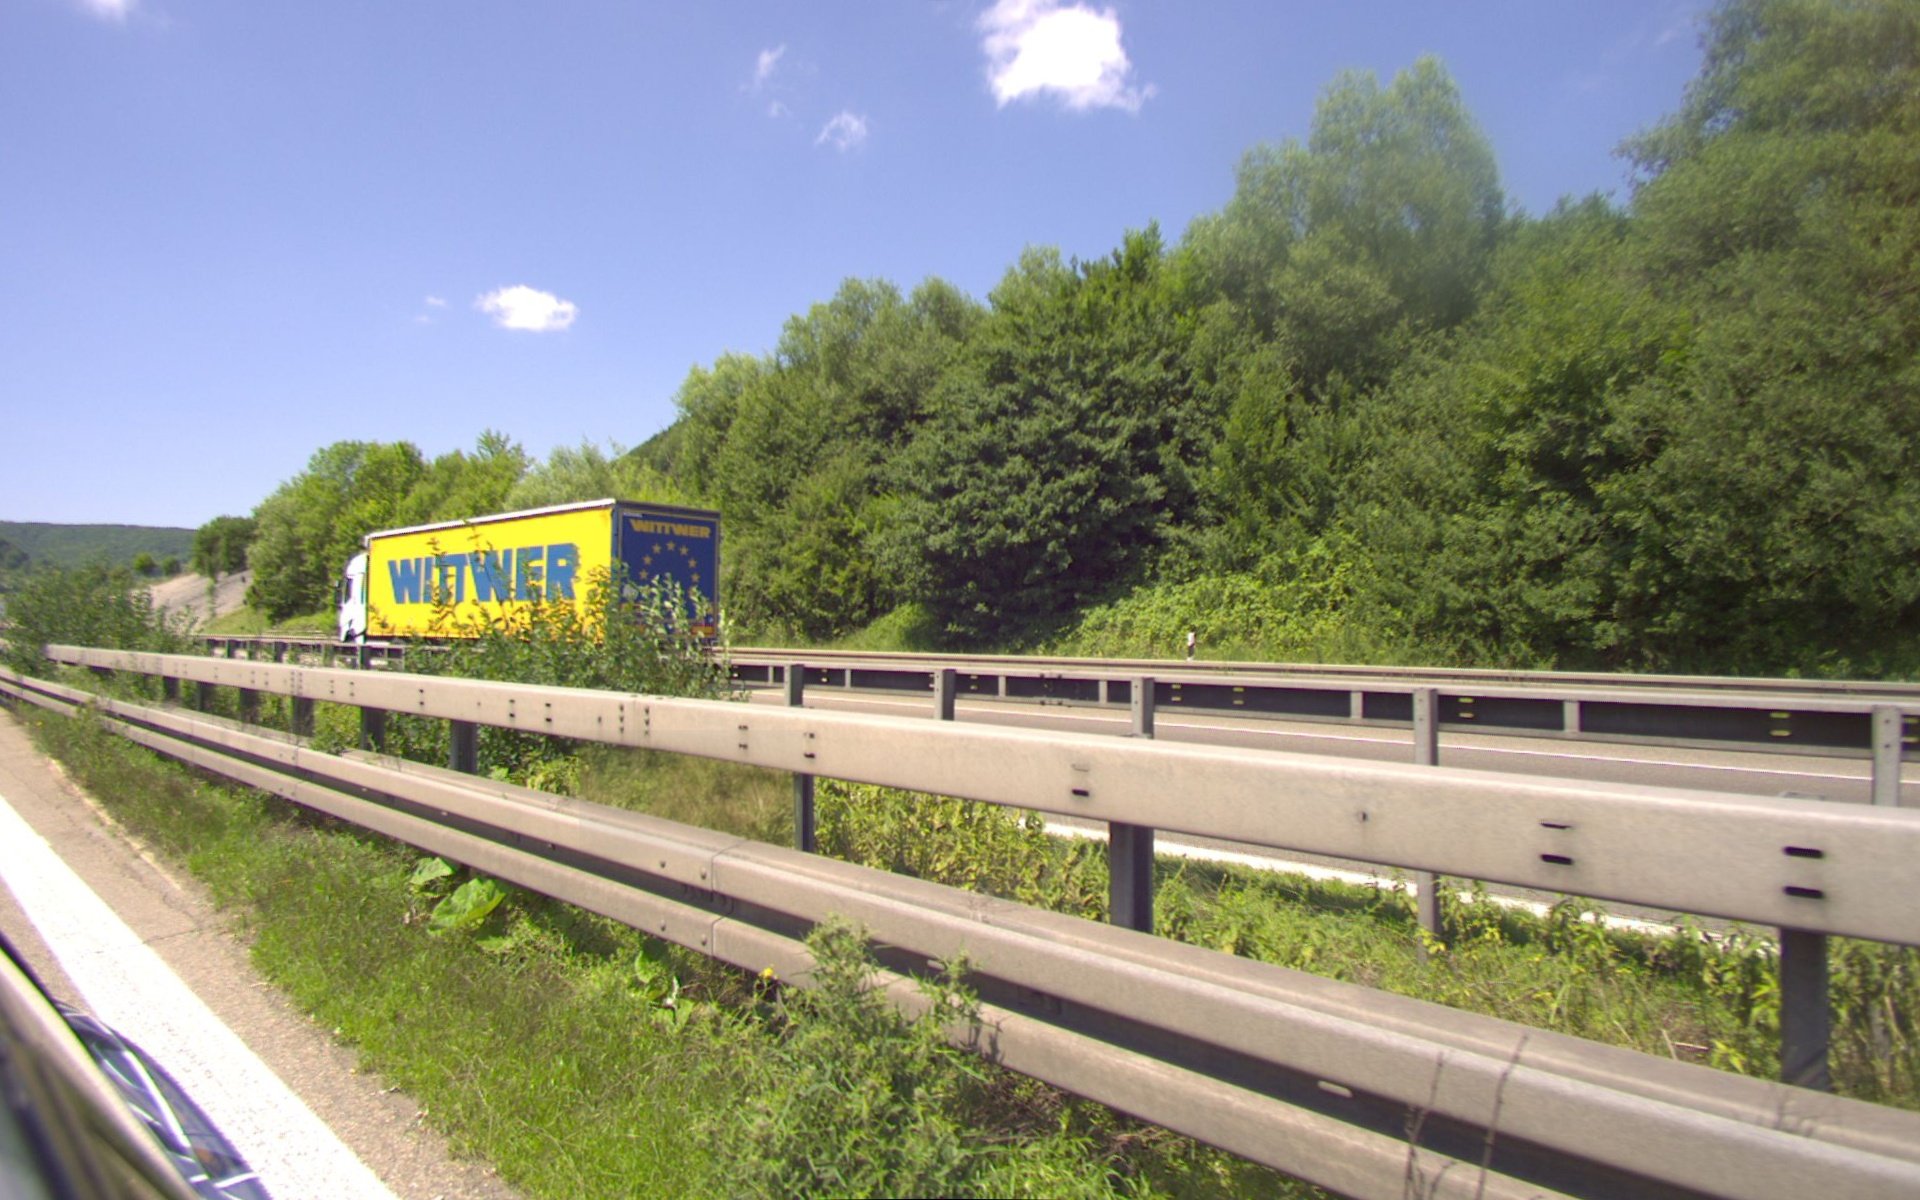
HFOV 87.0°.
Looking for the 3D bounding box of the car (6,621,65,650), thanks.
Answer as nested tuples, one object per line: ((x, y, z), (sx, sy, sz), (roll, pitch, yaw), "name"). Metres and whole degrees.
((-48.741, 1.864, 53.316), (4.432, 1.431, 1.849), (-1, -3, 42), "car")

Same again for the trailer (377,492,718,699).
((-10.699, 0.022, 24.864), (12.597, 4.035, 2.553), (-1, -1, 42), "trailer")

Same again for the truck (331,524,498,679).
((-16.193, 0.098, 29.878), (5.848, 4.121, 2.520), (-1, -2, 42), "truck")

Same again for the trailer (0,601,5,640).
((-104.886, 2.187, 108.198), (11.257, 4.107, 2.826), (-1, -3, 41), "trailer")
